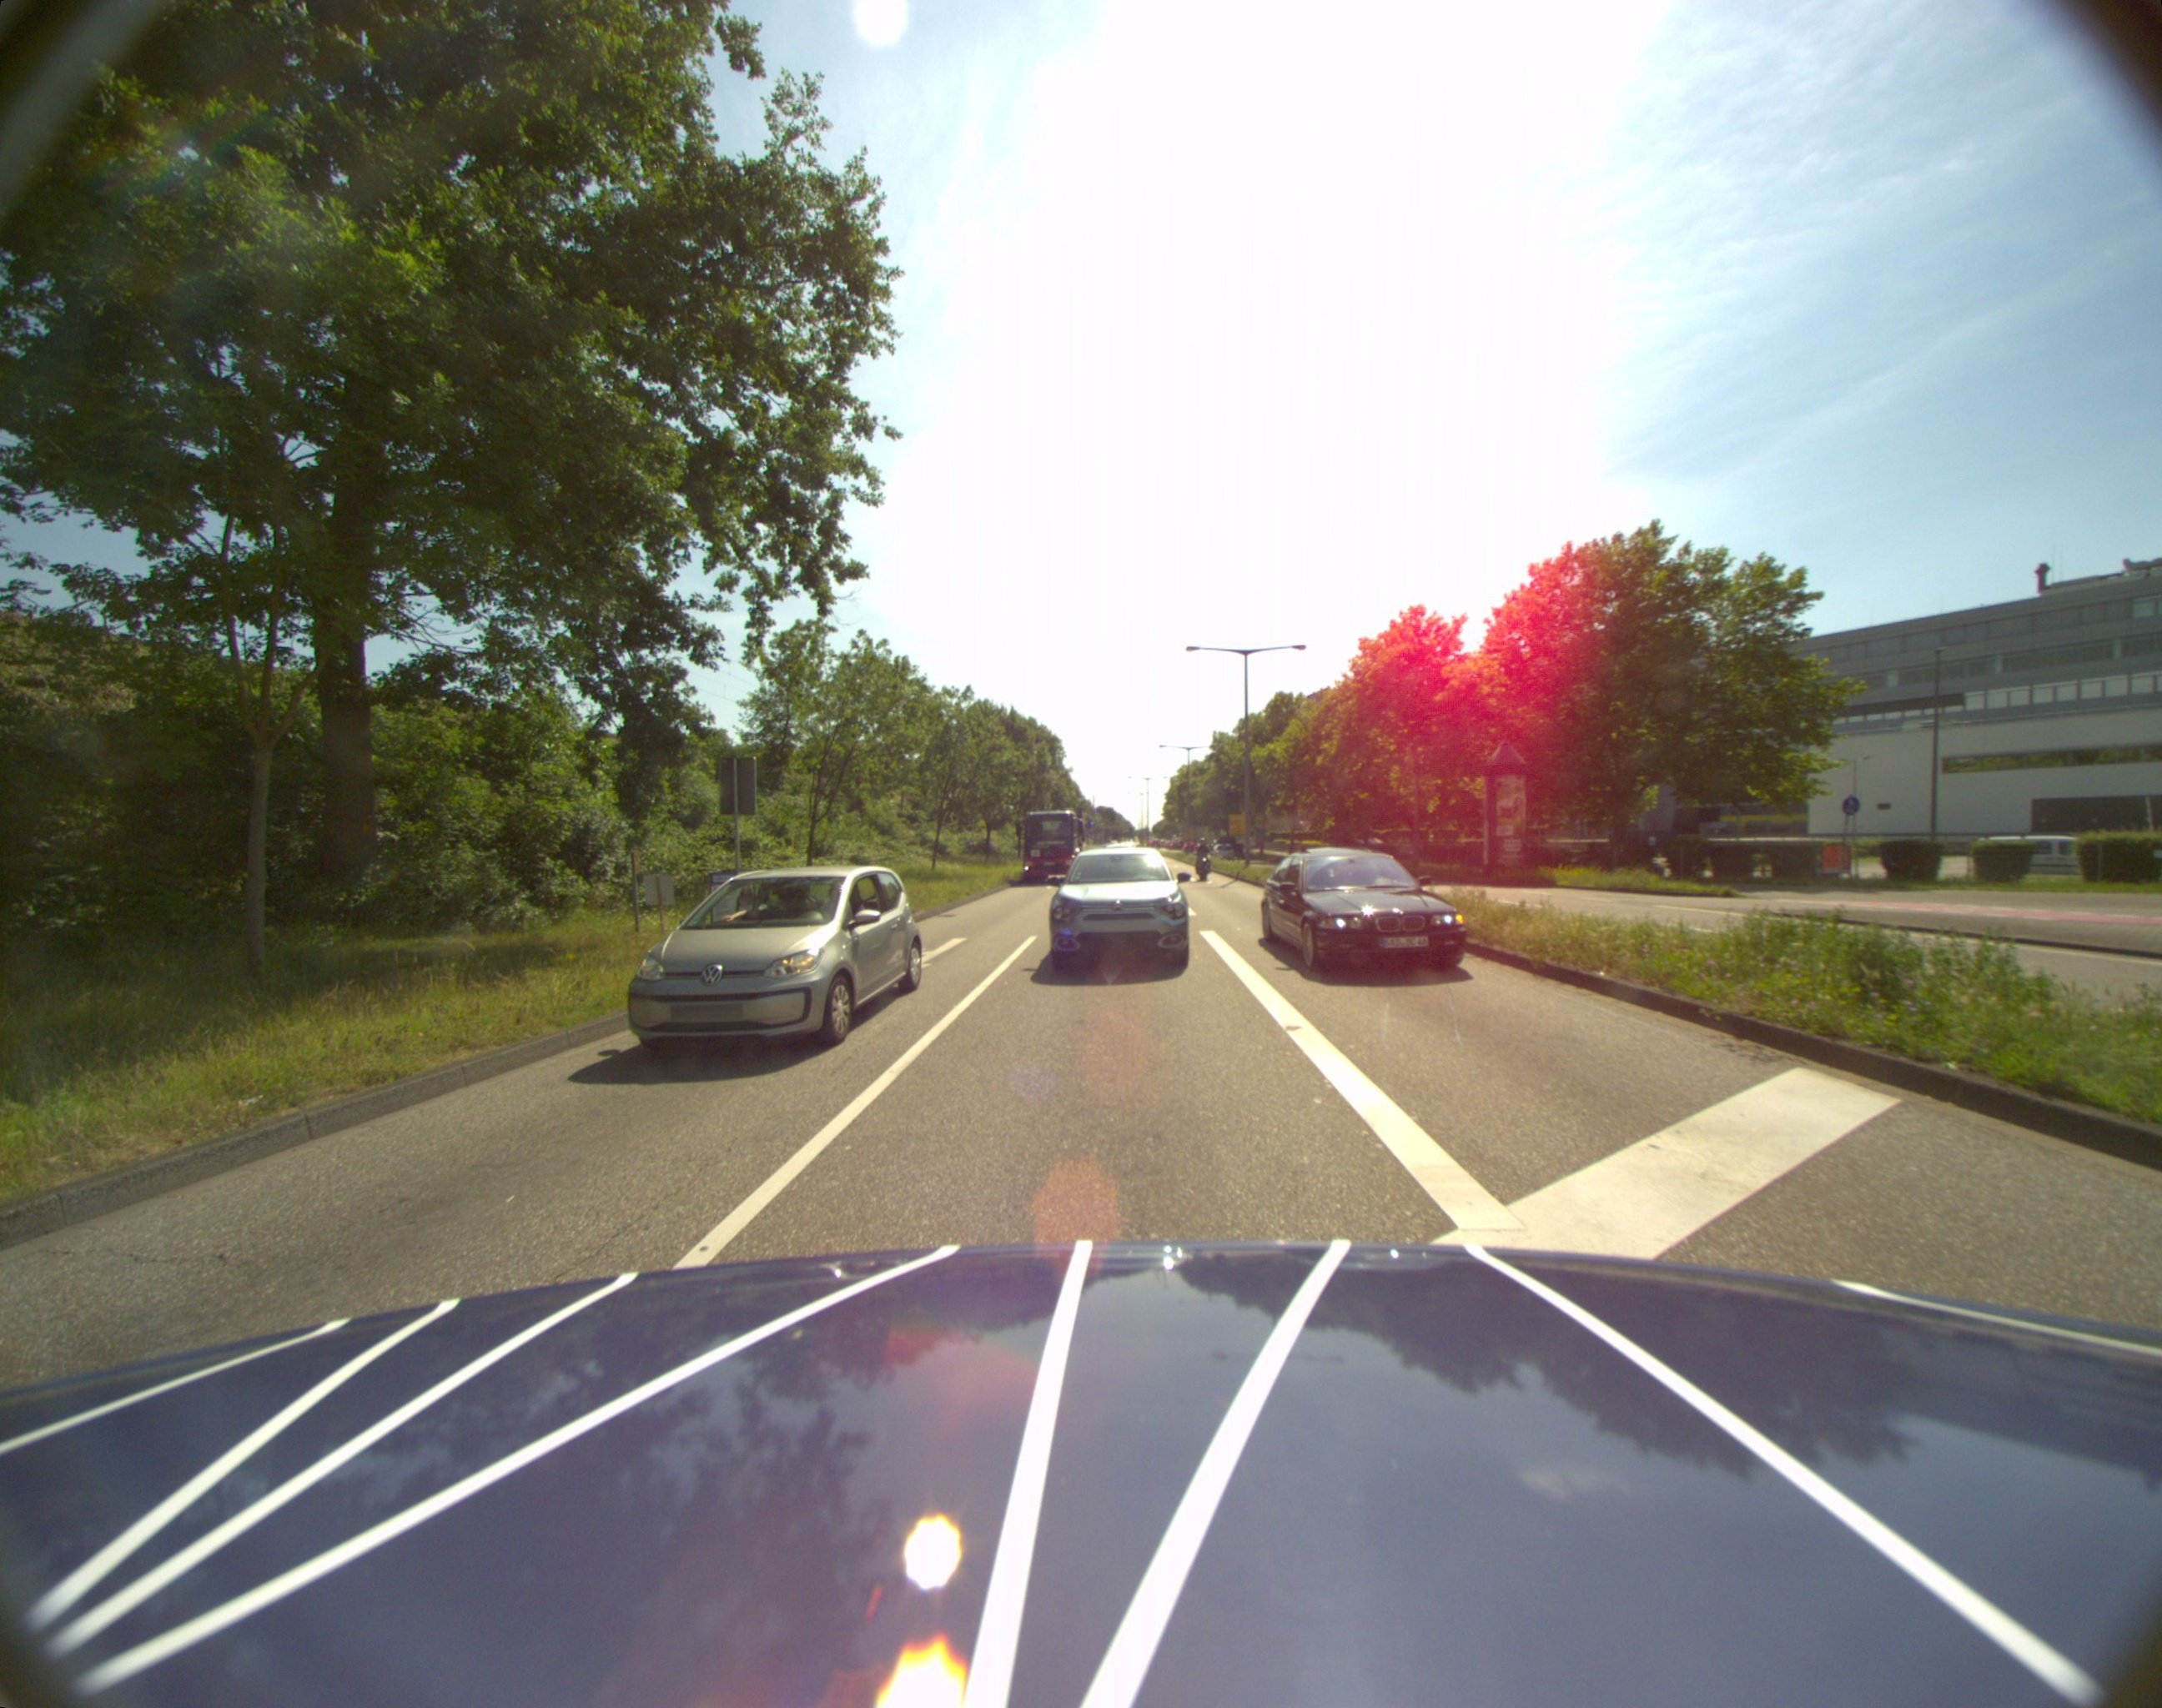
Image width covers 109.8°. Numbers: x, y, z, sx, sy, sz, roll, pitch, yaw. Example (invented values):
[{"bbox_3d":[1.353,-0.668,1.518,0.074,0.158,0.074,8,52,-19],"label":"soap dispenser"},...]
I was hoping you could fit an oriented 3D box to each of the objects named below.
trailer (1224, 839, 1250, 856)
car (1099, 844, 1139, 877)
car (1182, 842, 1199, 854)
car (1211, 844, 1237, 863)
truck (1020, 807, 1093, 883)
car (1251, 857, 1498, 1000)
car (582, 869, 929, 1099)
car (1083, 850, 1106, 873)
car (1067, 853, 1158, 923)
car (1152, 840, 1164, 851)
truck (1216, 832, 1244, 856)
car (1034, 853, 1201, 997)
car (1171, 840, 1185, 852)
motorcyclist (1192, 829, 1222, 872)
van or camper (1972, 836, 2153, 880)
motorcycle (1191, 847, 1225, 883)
[{"bbox_3d":[15.970,-0.657,78.117,2.066,1.706,3.991,-1,1,4],"label":"trailer"},{"bbox_3d":[1.936,0.266,37.523,1.825,1.521,4.548,-1,1,4],"label":"car"},{"bbox_3d":[14.369,-0.815,99.964,1.852,1.426,3.767,-1,1,2],"label":"car"},{"bbox_3d":[11.788,-0.088,62.757,1.653,1.505,3.736,-1,1,3],"label":"car"},{"bbox_3d":[-1.017,-0.426,36.526,2.775,3.248,7.483,-1,1,4],"label":"truck"},{"bbox_3d":[3.507,0.783,9.948,1.730,1.354,4.067,-2,1,2],"label":"car"},{"bbox_3d":[-2.720,0.980,7.346,1.705,1.429,3.677,-4,1,-1],"label":"car"},{"bbox_3d":[1.281,0.678,71.194,1.998,2.002,4.000,-1,1,3],"label":"car"},{"bbox_3d":[0.803,0.752,18.834,1.998,1.492,4.000,-1,1,3],"label":"car"},{"bbox_3d":[14.523,-1.600,143.298,1.998,2.002,4.000,-1,1,3],"label":"car"},{"bbox_3d":[16.391,-1.112,83.683,2.144,2.461,7.129,-1,1,4],"label":"truck"},{"bbox_3d":[0.573,0.787,10.810,1.825,1.521,4.752,-1,1,4],"label":"car"},{"bbox_3d":[16.883,-1.346,132.479,1.998,2.002,4.000,-1,1,3],"label":"car"},{"bbox_3d":[5.057,-0.153,30.594,1.066,1.689,1.042,-1,1,2],"label":"motorcyclist"},{"bbox_3d":[40.645,0.133,31.598,2.003,1.682,4.500,-2,1,-35],"label":"van or camper"},{"bbox_3d":[5.091,0.423,30.621,1.051,1.343,2.331,-1,1,2],"label":"motorcycle"}]
